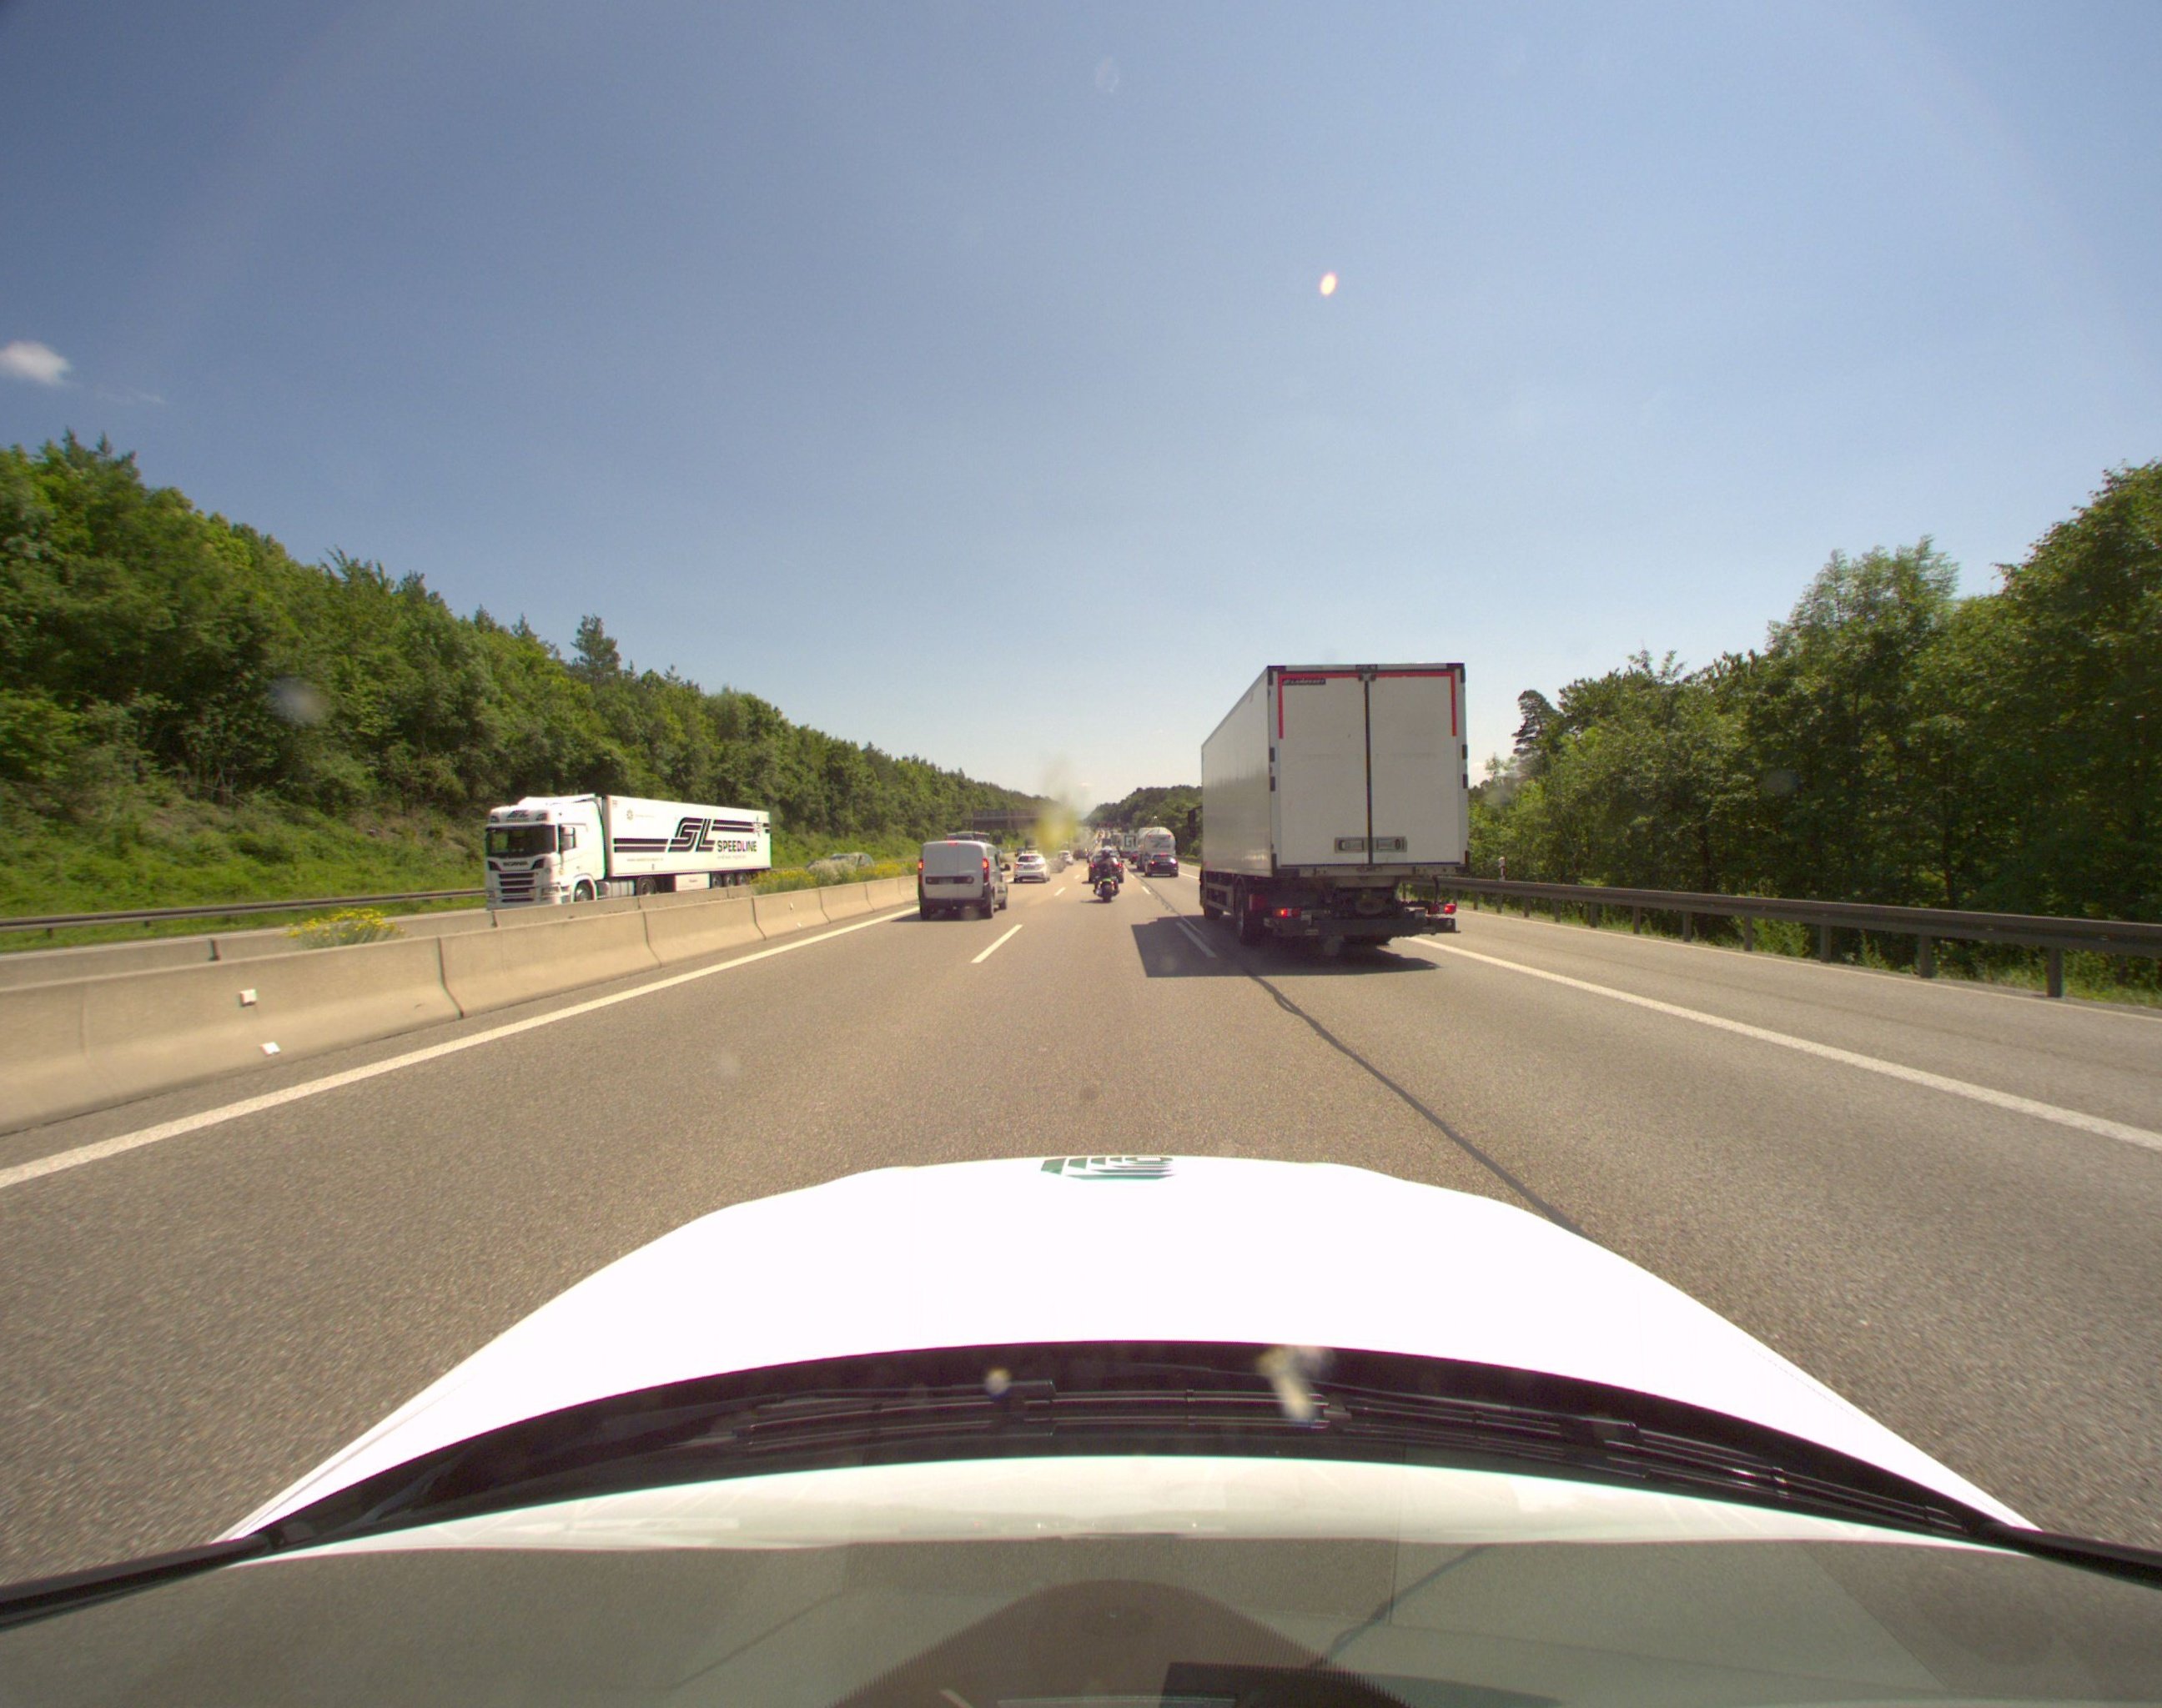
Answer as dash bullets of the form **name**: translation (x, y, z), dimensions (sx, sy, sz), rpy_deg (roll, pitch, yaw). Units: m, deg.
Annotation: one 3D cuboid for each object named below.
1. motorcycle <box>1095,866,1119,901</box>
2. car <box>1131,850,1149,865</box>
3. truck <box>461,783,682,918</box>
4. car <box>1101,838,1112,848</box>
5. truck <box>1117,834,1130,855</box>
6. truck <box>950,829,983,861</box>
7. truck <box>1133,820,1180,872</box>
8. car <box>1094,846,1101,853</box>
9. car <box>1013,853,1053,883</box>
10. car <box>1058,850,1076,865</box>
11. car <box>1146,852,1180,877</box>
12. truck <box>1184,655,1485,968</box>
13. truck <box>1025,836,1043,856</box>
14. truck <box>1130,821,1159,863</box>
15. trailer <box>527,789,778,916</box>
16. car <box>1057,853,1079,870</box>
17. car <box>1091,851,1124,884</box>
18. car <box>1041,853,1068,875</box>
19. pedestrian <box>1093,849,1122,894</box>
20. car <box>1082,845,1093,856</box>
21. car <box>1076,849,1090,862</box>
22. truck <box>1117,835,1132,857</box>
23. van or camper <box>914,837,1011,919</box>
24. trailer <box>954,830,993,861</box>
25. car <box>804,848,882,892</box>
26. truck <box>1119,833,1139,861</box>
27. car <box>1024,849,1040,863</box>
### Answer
- **motorcycle**: translation (0.849, 0.919, 25.881), dimensions (0.688, 1.015, 2.123), rpy_deg (0, 0, 3)
- **car**: translation (6.558, 0.407, 90.560), dimensions (1.780, 1.555, 3.805), rpy_deg (-1, 0, 2)
- **truck**: translation (-17.933, -0.072, 29.496), dimensions (2.791, 4.165, 7.605), rpy_deg (-2, -1, 3)
- **car**: translation (6.488, -2.744, 206.793), dimensions (2.495, 2.587, 5.018), rpy_deg (-1, 0, 2)
- **truck**: translation (10.460, -2.285, 201.032), dimensions (3.022, 5.139, 9.987), rpy_deg (0, 0, 2)
- **truck**: translation (-15.138, -1.089, 108.144), dimensions (2.895, 3.974, 7.772), rpy_deg (-3, -1, 2)
- **truck**: translation (5.898, -0.536, 64.839), dimensions (2.976, 3.671, 9.291), rpy_deg (-3, -1, 2)
- **car**: translation (4.935, -1.423, 243.582), dimensions (1.986, 2.013, 4.002), rpy_deg (-1, 0, 2)
- **car**: translation (-2.476, 0.696, 42.689), dimensions (1.693, 1.478, 4.002), rpy_deg (-1, 0, 2)
- **car**: translation (-1.435, 0.349, 84.725), dimensions (1.693, 1.478, 4.002), rpy_deg (-1, 0, 2)
- **car**: translation (5.033, 0.615, 50.182), dimensions (1.822, 1.470, 4.002), rpy_deg (0, 0, 2)
- **truck**: translation (3.884, -0.544, 15.414), dimensions (2.678, 3.876, 9.783), rpy_deg (-4, 0, 2)
- **truck**: translation (-11.518, -2.012, 201.001), dimensions (3.711, 4.528, 7.327), rpy_deg (-3, -1, 1)
- **truck**: translation (5.734, -1.027, 73.952), dimensions (1.987, 3.522, 4.749), rpy_deg (-3, -1, 0)
- **trailer**: translation (-17.663, 0.000, 35.622), dimensions (2.791, 4.338, 14.046), rpy_deg (-2, -1, 3)
- **car**: translation (-1.136, 0.663, 73.316), dimensions (1.693, 1.478, 4.002), rpy_deg (-1, 0, 2)
- **car**: translation (1.333, 0.666, 41.512), dimensions (1.527, 1.510, 4.001), rpy_deg (-3, 0, 1)
- **car**: translation (-1.925, 0.718, 59.838), dimensions (1.693, 1.478, 4.002), rpy_deg (-1, 0, 2)
- **pedestrian**: translation (0.844, 0.550, 25.939), dimensions (0.846, 1.362, 0.962), rpy_deg (-3, 0, 3)
- **car**: translation (1.322, -0.649, 156.361), dimensions (1.922, 2.013, 4.002), rpy_deg (-3, -1, 2)
- **car**: translation (0.309, 0.181, 112.962), dimensions (1.873, 1.859, 4.002), rpy_deg (-1, 0, 2)
- **truck**: translation (9.025, -1.721, 170.954), dimensions (3.022, 4.542, 9.987), rpy_deg (0, 0, 2)
- **van or camper**: translation (-2.942, 0.575, 21.034), dimensions (1.790, 1.892, 4.160), rpy_deg (-1, -1, 1)
- **trailer**: translation (-14.928, -1.042, 114.384), dimensions (2.895, 3.974, 13.893), rpy_deg (-3, -1, 2)
- **car**: translation (-10.611, 0.679, 36.687), dimensions (1.876, 1.756, 4.789), rpy_deg (-3, -1, 2)
- **truck**: translation (7.934, -1.122, 135.078), dimensions (3.022, 4.542, 9.987), rpy_deg (0, 0, 2)
- **car**: translation (-7.386, 0.298, 124.150), dimensions (1.872, 2.013, 4.470), rpy_deg (-4, -1, 2)
